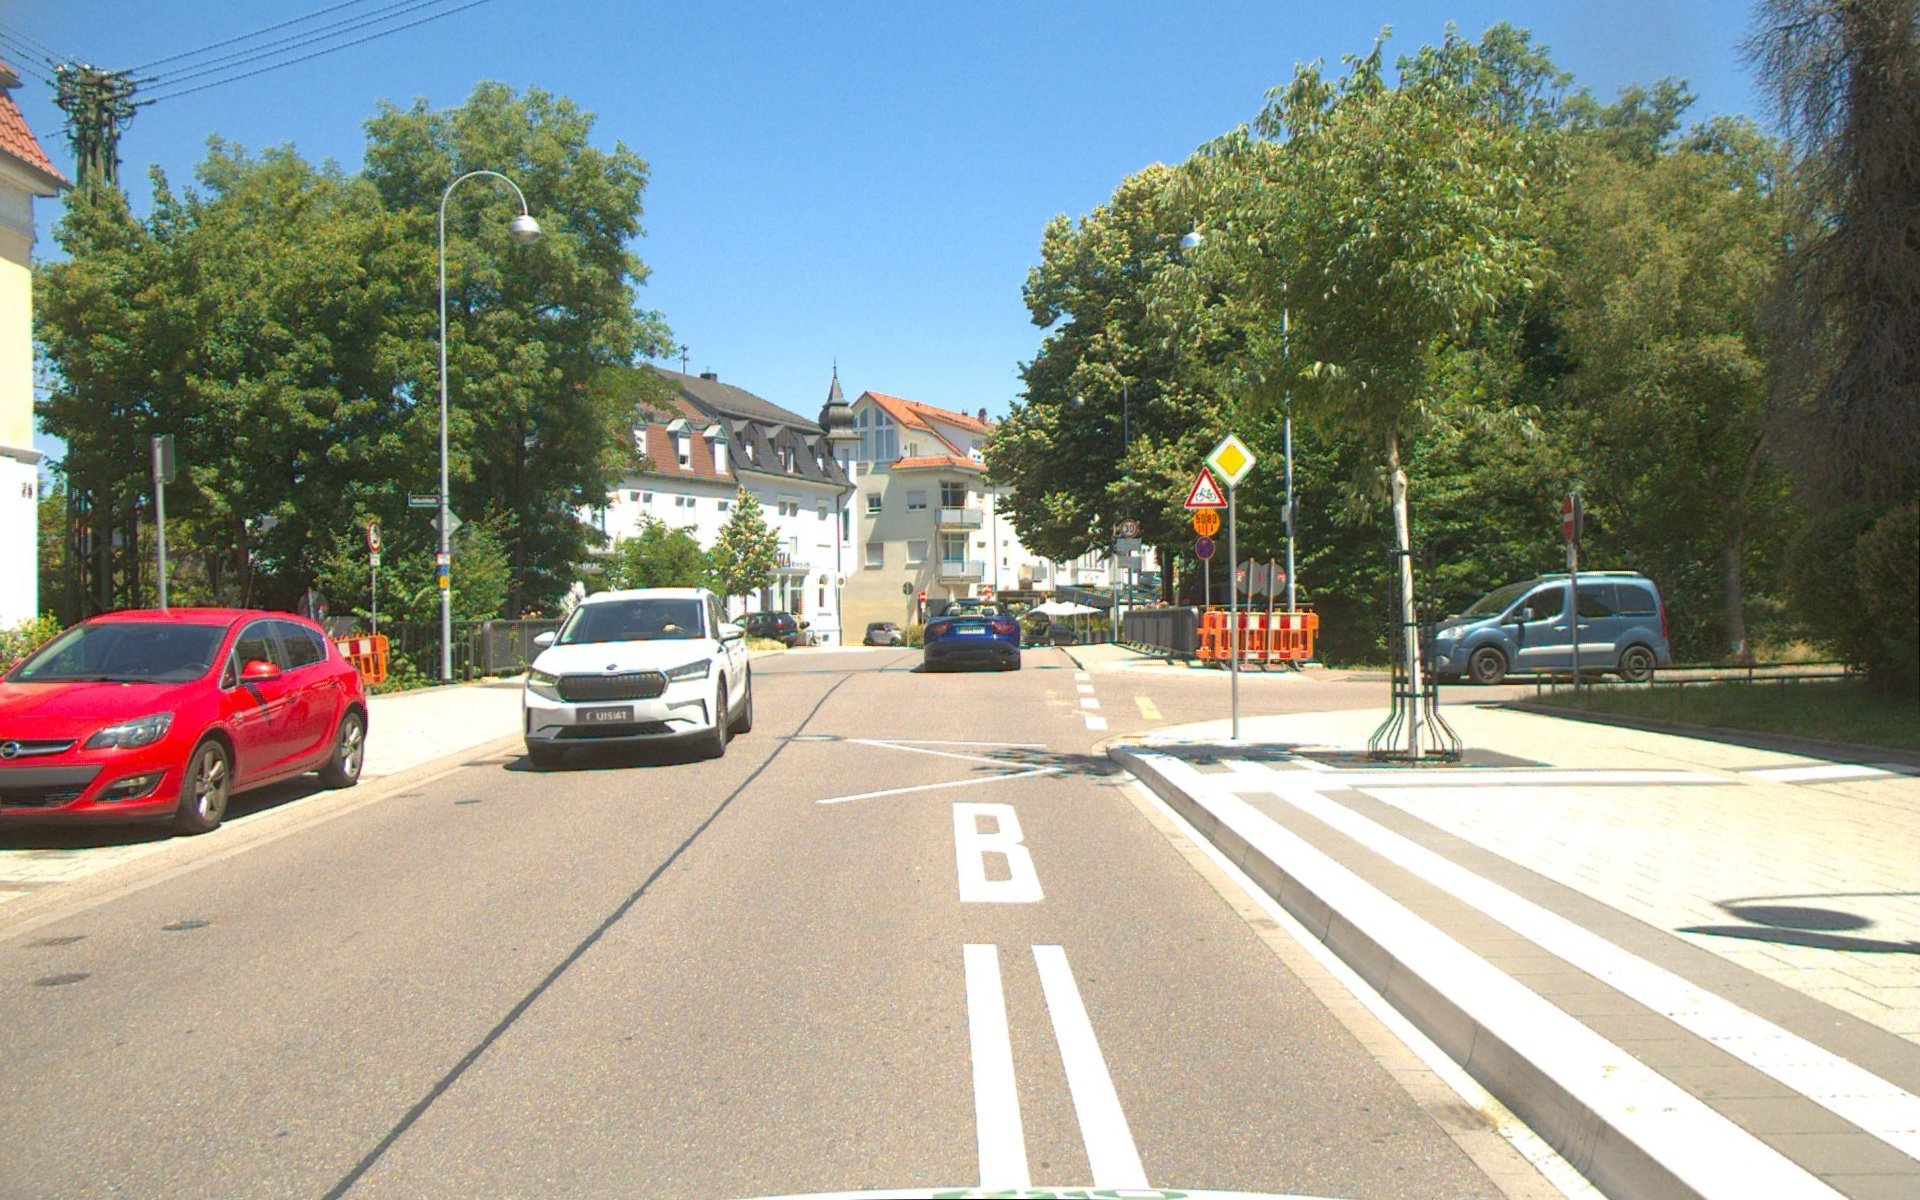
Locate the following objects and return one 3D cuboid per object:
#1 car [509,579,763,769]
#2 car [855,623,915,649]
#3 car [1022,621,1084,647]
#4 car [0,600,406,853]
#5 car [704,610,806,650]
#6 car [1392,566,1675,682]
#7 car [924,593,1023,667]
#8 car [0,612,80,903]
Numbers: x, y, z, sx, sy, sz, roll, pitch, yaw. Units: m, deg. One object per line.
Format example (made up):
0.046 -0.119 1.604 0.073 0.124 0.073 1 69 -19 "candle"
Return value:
-3.163 0.667 17.000 1.840 1.625 4.357 -2 0 -2 "car"
-4.506 2.165 99.869 3.196 1.484 1.691 -2 -1 23 "car"
5.565 2.012 98.315 1.684 1.486 4.112 1 -1 37 "car"
-5.912 0.779 12.539 1.839 1.505 4.737 2 0 -1 "car"
-9.167 1.348 73.849 4.095 1.691 1.970 -1 -2 23 "car"
9.685 0.416 28.061 4.257 1.871 1.746 1 -1 -9 "car"
0.230 0.592 32.945 1.832 1.366 4.595 0 -1 -1 "car"
-5.818 0.822 6.621 1.825 1.487 5.306 1 0 -1 "car"
